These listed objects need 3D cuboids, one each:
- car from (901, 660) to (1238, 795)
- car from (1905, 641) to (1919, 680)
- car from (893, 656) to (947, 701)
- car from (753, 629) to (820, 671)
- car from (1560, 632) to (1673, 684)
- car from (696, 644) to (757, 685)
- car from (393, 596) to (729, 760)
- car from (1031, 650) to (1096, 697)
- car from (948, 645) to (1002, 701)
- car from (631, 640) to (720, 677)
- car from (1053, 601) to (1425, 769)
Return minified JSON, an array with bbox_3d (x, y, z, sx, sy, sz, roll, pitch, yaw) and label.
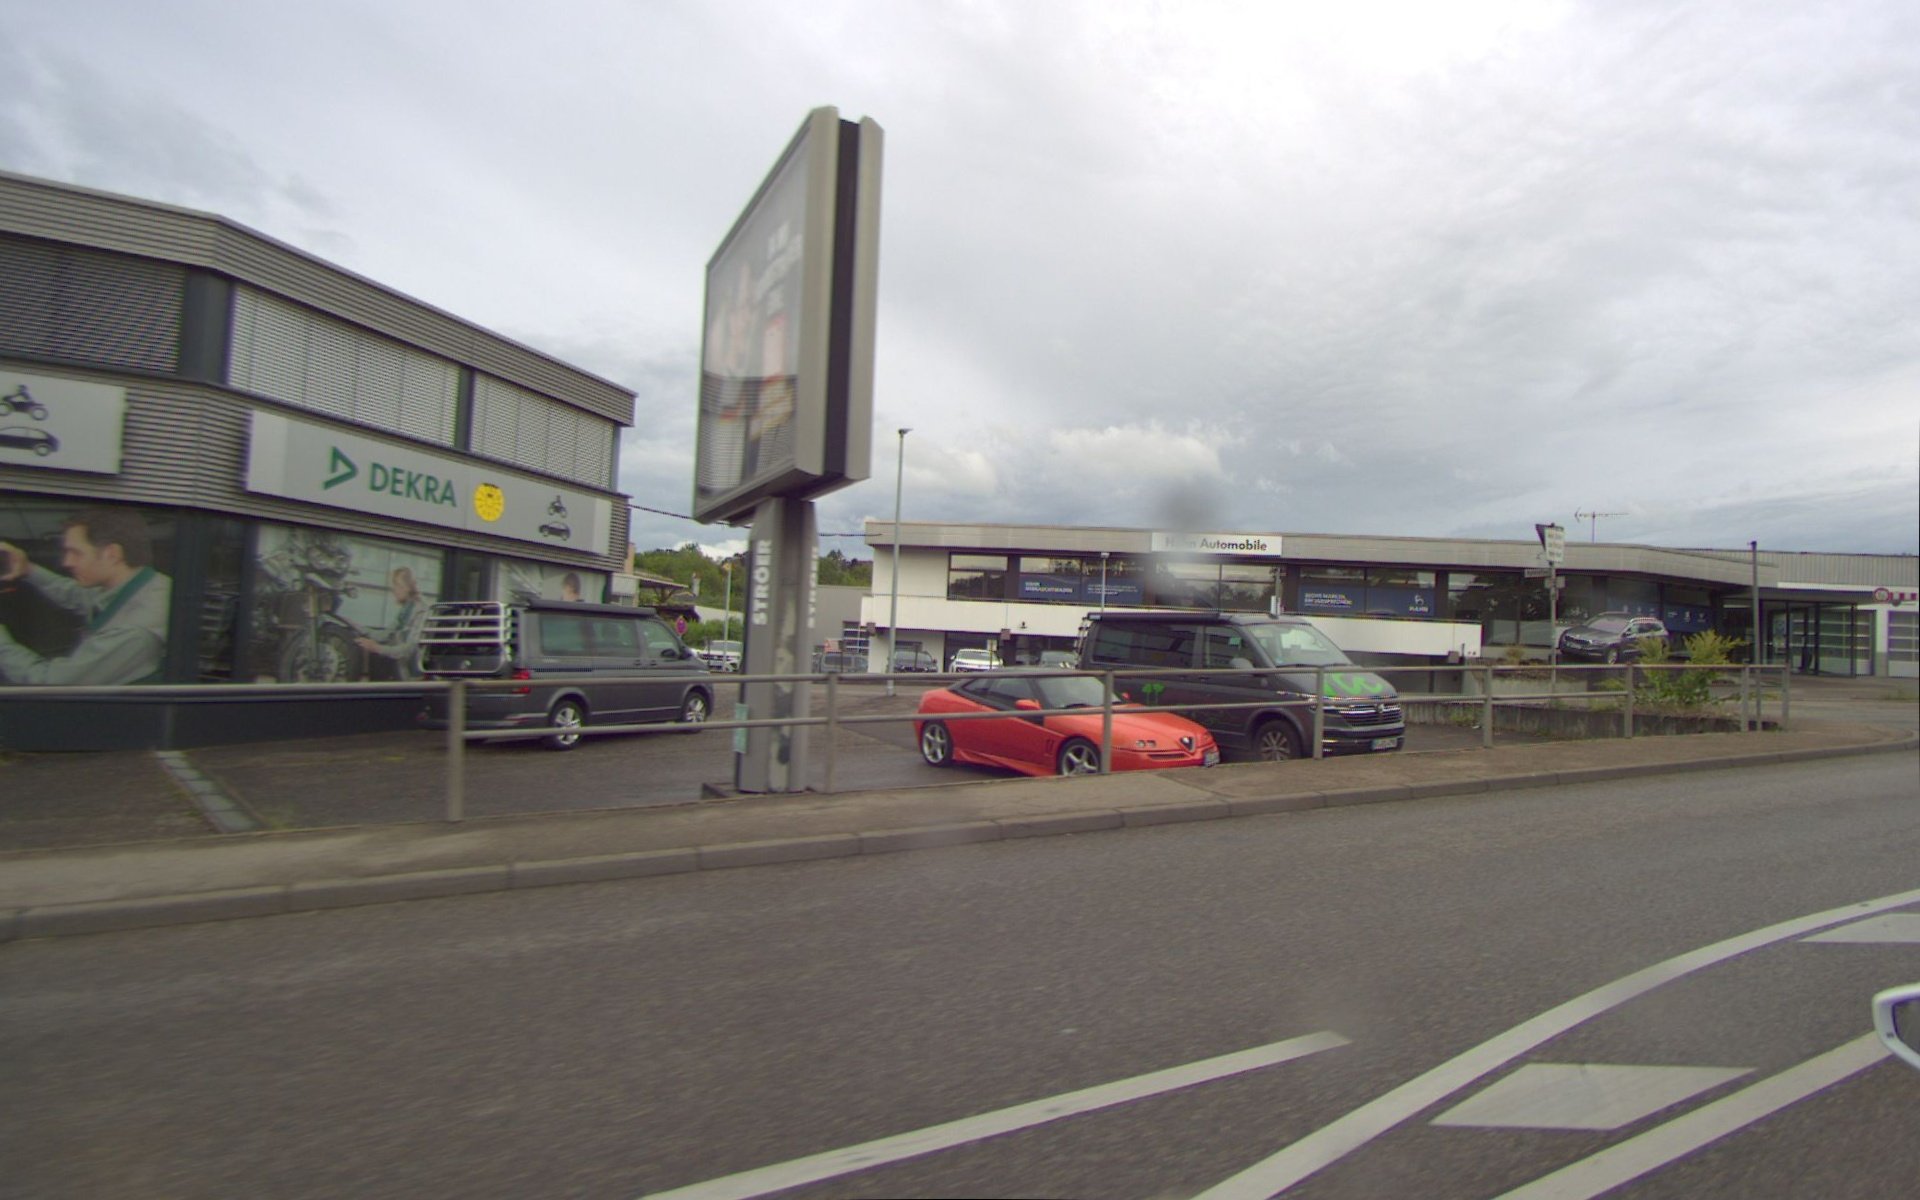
[{"bbox_3d":[1.165,1.404,12.222,1.754,1.284,4.060,3,-3,-38],"label":"car"},{"bbox_3d":[50.912,3.067,51.079,1.948,1.985,4.491,0,-4,9],"label":"car"},{"bbox_3d":[-1.396,2.769,36.128,1.807,1.446,3.991,0,-2,-1],"label":"car"},{"bbox_3d":[-6.296,1.804,36.857,1.807,1.446,3.991,0,-2,-1],"label":"car"},{"bbox_3d":[23.965,2.120,36.640,4.192,1.823,1.396,2,-3,-24],"label":"car"},{"bbox_3d":[-8.902,2.440,38.536,1.552,1.446,3.593,0,-2,-1],"label":"car"},{"bbox_3d":[-5.658,1.071,15.105,1.960,2.013,4.879,1,-2,19],"label":"car"},{"bbox_3d":[3.484,2.460,34.364,1.745,1.446,3.991,0,-2,-1],"label":"car"},{"bbox_3d":[0.482,2.538,35.750,1.785,1.811,3.991,0,-2,-1],"label":"car"},{"bbox_3d":[-18.106,3.687,63.856,5.275,1.990,2.000,2,-1,22],"label":"car"},{"bbox_3d":[3.589,1.063,13.961,1.804,1.895,5.036,2,-3,-34],"label":"car"}]
